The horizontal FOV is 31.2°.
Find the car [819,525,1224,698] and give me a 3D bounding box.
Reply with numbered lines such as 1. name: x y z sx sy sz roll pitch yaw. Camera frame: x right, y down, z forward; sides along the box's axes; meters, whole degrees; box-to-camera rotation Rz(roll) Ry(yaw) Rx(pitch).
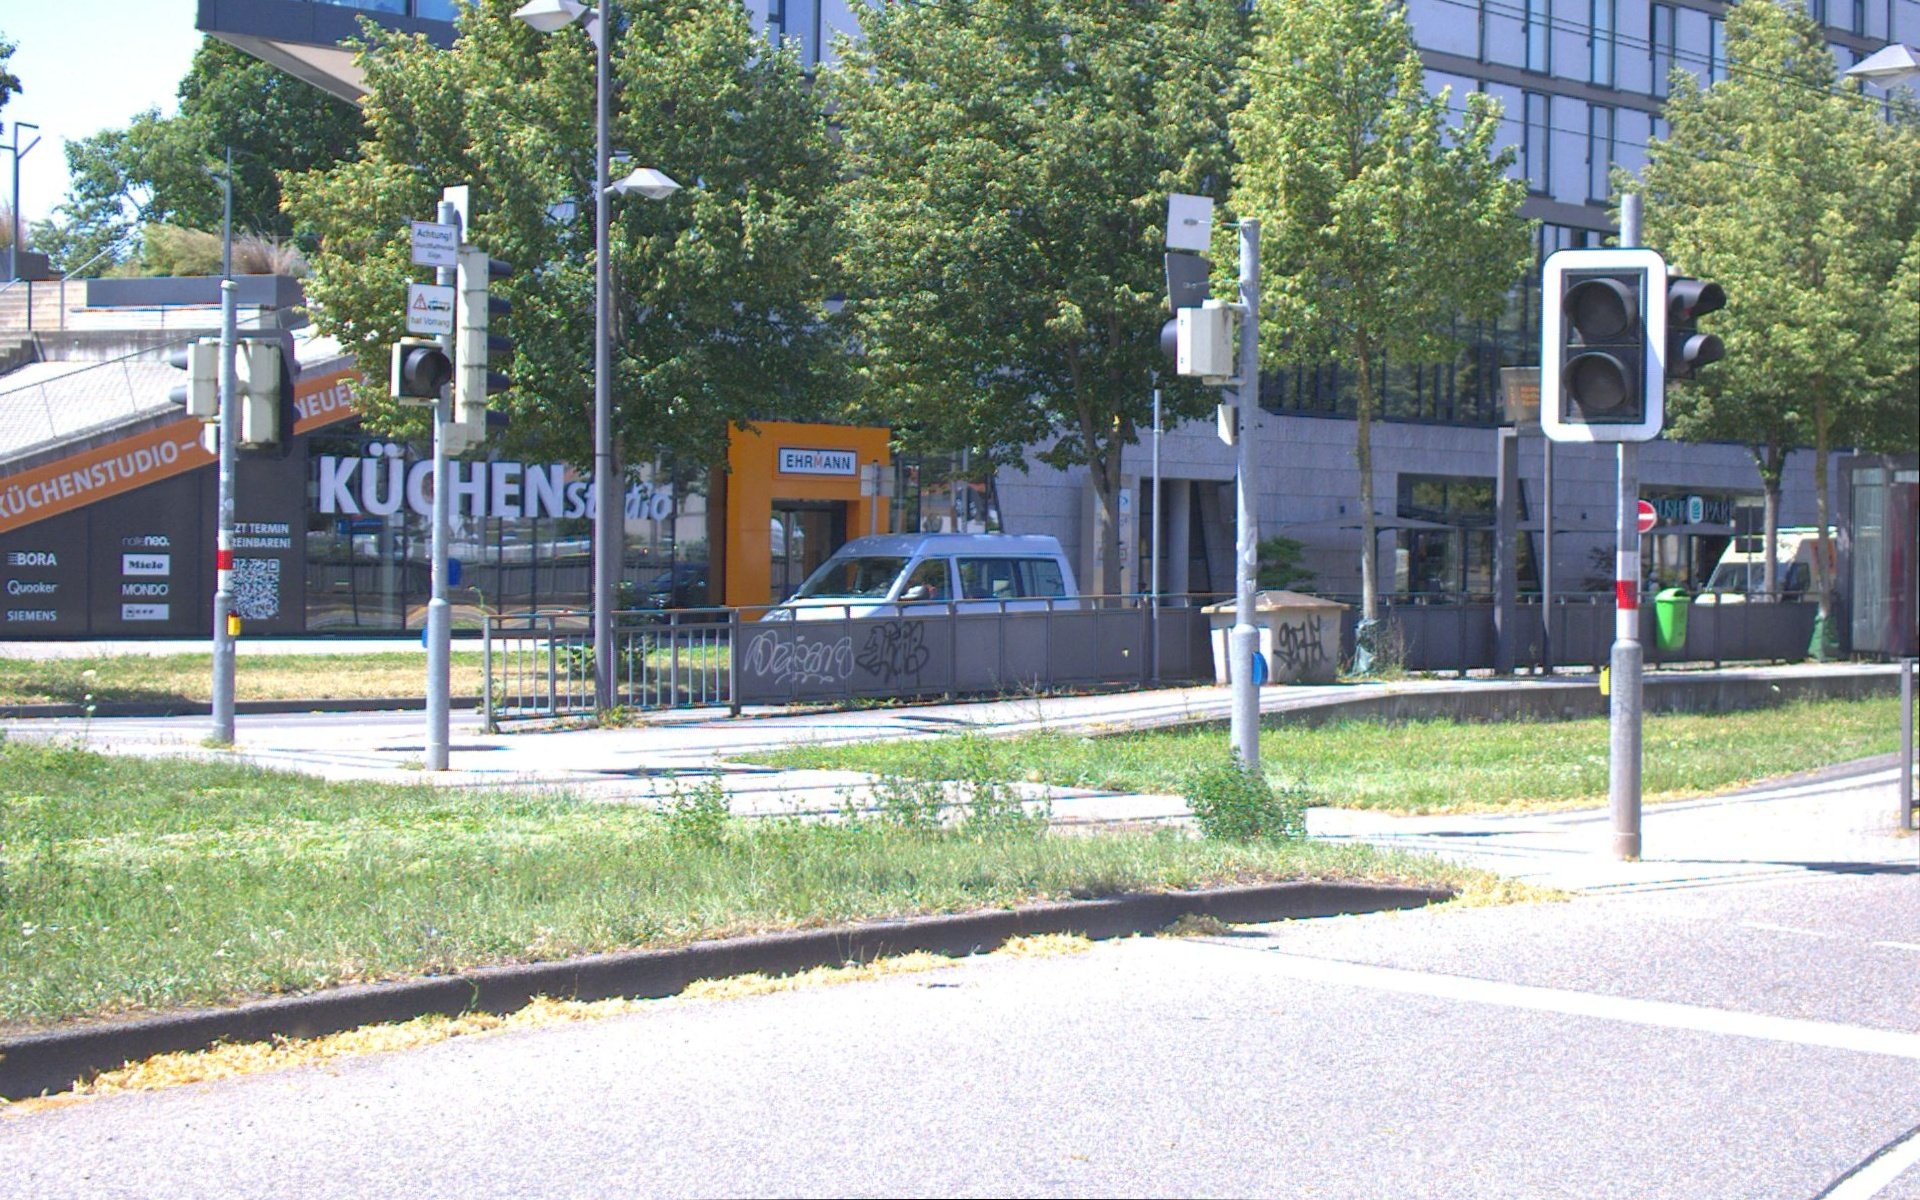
1. car: 0.873 0.128 44.661 1.999 2.099 5.528 2 1 44

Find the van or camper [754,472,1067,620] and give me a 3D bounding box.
1. van or camper: -0.915 -1.056 69.087 2.381 2.812 6.771 2 1 41

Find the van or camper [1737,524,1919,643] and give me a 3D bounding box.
1. van or camper: 19.153 -0.362 72.707 2.183 2.378 6.755 2 1 43
